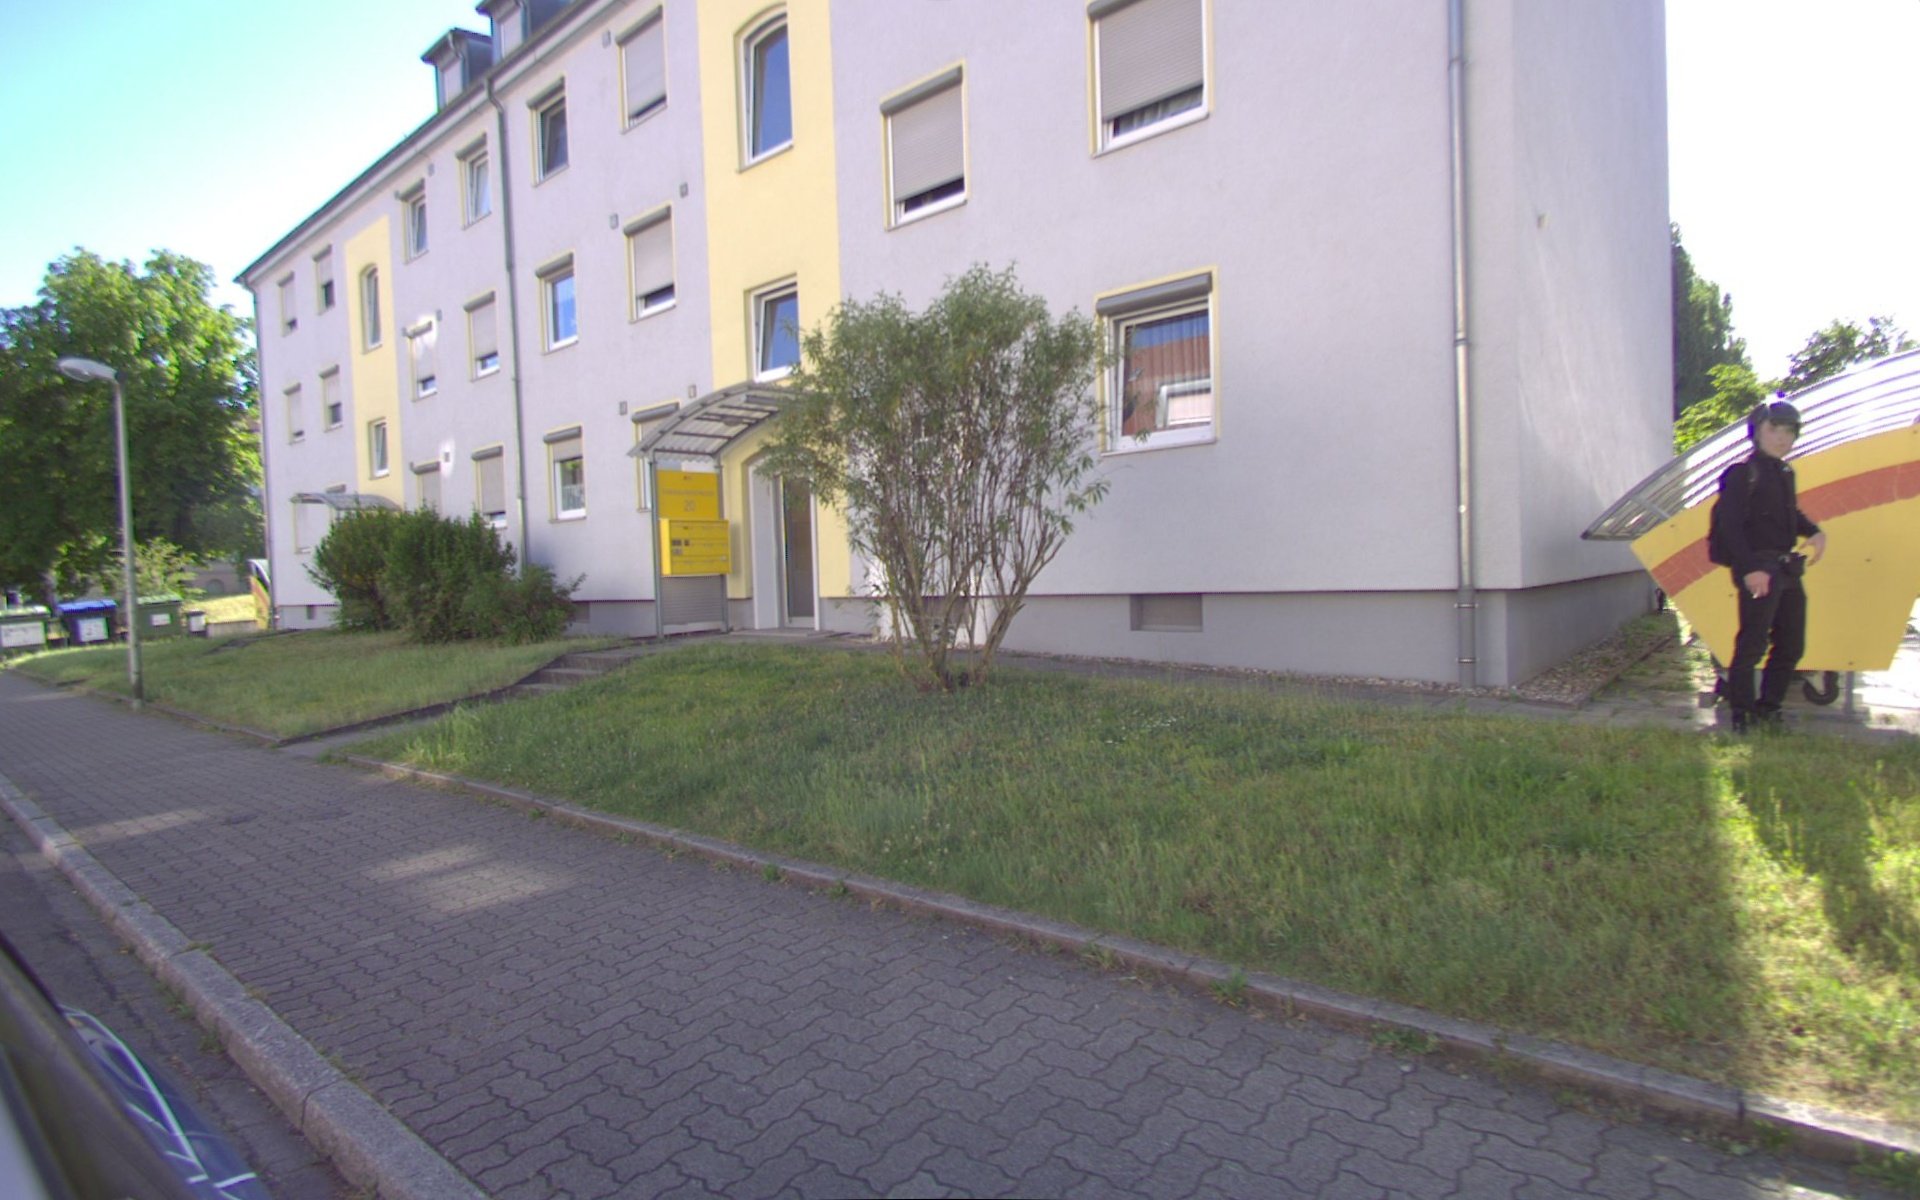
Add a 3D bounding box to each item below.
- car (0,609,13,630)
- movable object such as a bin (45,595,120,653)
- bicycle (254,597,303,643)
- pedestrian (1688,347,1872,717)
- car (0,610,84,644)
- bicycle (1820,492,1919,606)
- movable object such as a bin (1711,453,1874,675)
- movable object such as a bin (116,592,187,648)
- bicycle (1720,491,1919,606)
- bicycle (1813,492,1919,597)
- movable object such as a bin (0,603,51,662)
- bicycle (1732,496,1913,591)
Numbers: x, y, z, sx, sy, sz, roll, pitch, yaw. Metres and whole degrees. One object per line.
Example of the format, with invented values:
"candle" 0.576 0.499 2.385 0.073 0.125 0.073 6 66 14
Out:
"car" -72.241 1.508 74.393 1.624 1.456 3.737 -1 1 43
"movable object such as a bin" -25.232 0.675 29.114 1.082 1.469 1.342 -1 6 41
"bicycle" -20.043 0.581 29.751 2.008 1.259 0.633 -1 3 42
"pedestrian" 4.511 -0.347 5.564 0.718 1.837 0.797 -1 2 42
"car" -46.396 1.330 50.317 1.728 1.508 4.087 -1 1 41
"bicycle" 9.986 -0.534 10.434 1.684 1.153 0.457 -1 0 41
"movable object such as a bin" 5.876 -0.254 7.138 0.812 1.416 1.073 -1 2 42
"movable object such as a bin" -24.222 0.585 30.323 1.072 1.463 1.347 -1 6 41
"bicycle" 9.706 -0.550 11.436 1.735 1.200 0.450 -1 0 41
"bicycle" 10.568 -0.621 11.338 1.526 1.135 0.401 -1 0 41
"movable object such as a bin" -26.157 0.898 27.934 1.198 1.470 1.302 -1 6 41
"bicycle" 11.086 -0.703 13.066 1.721 1.112 0.522 -1 1 41
